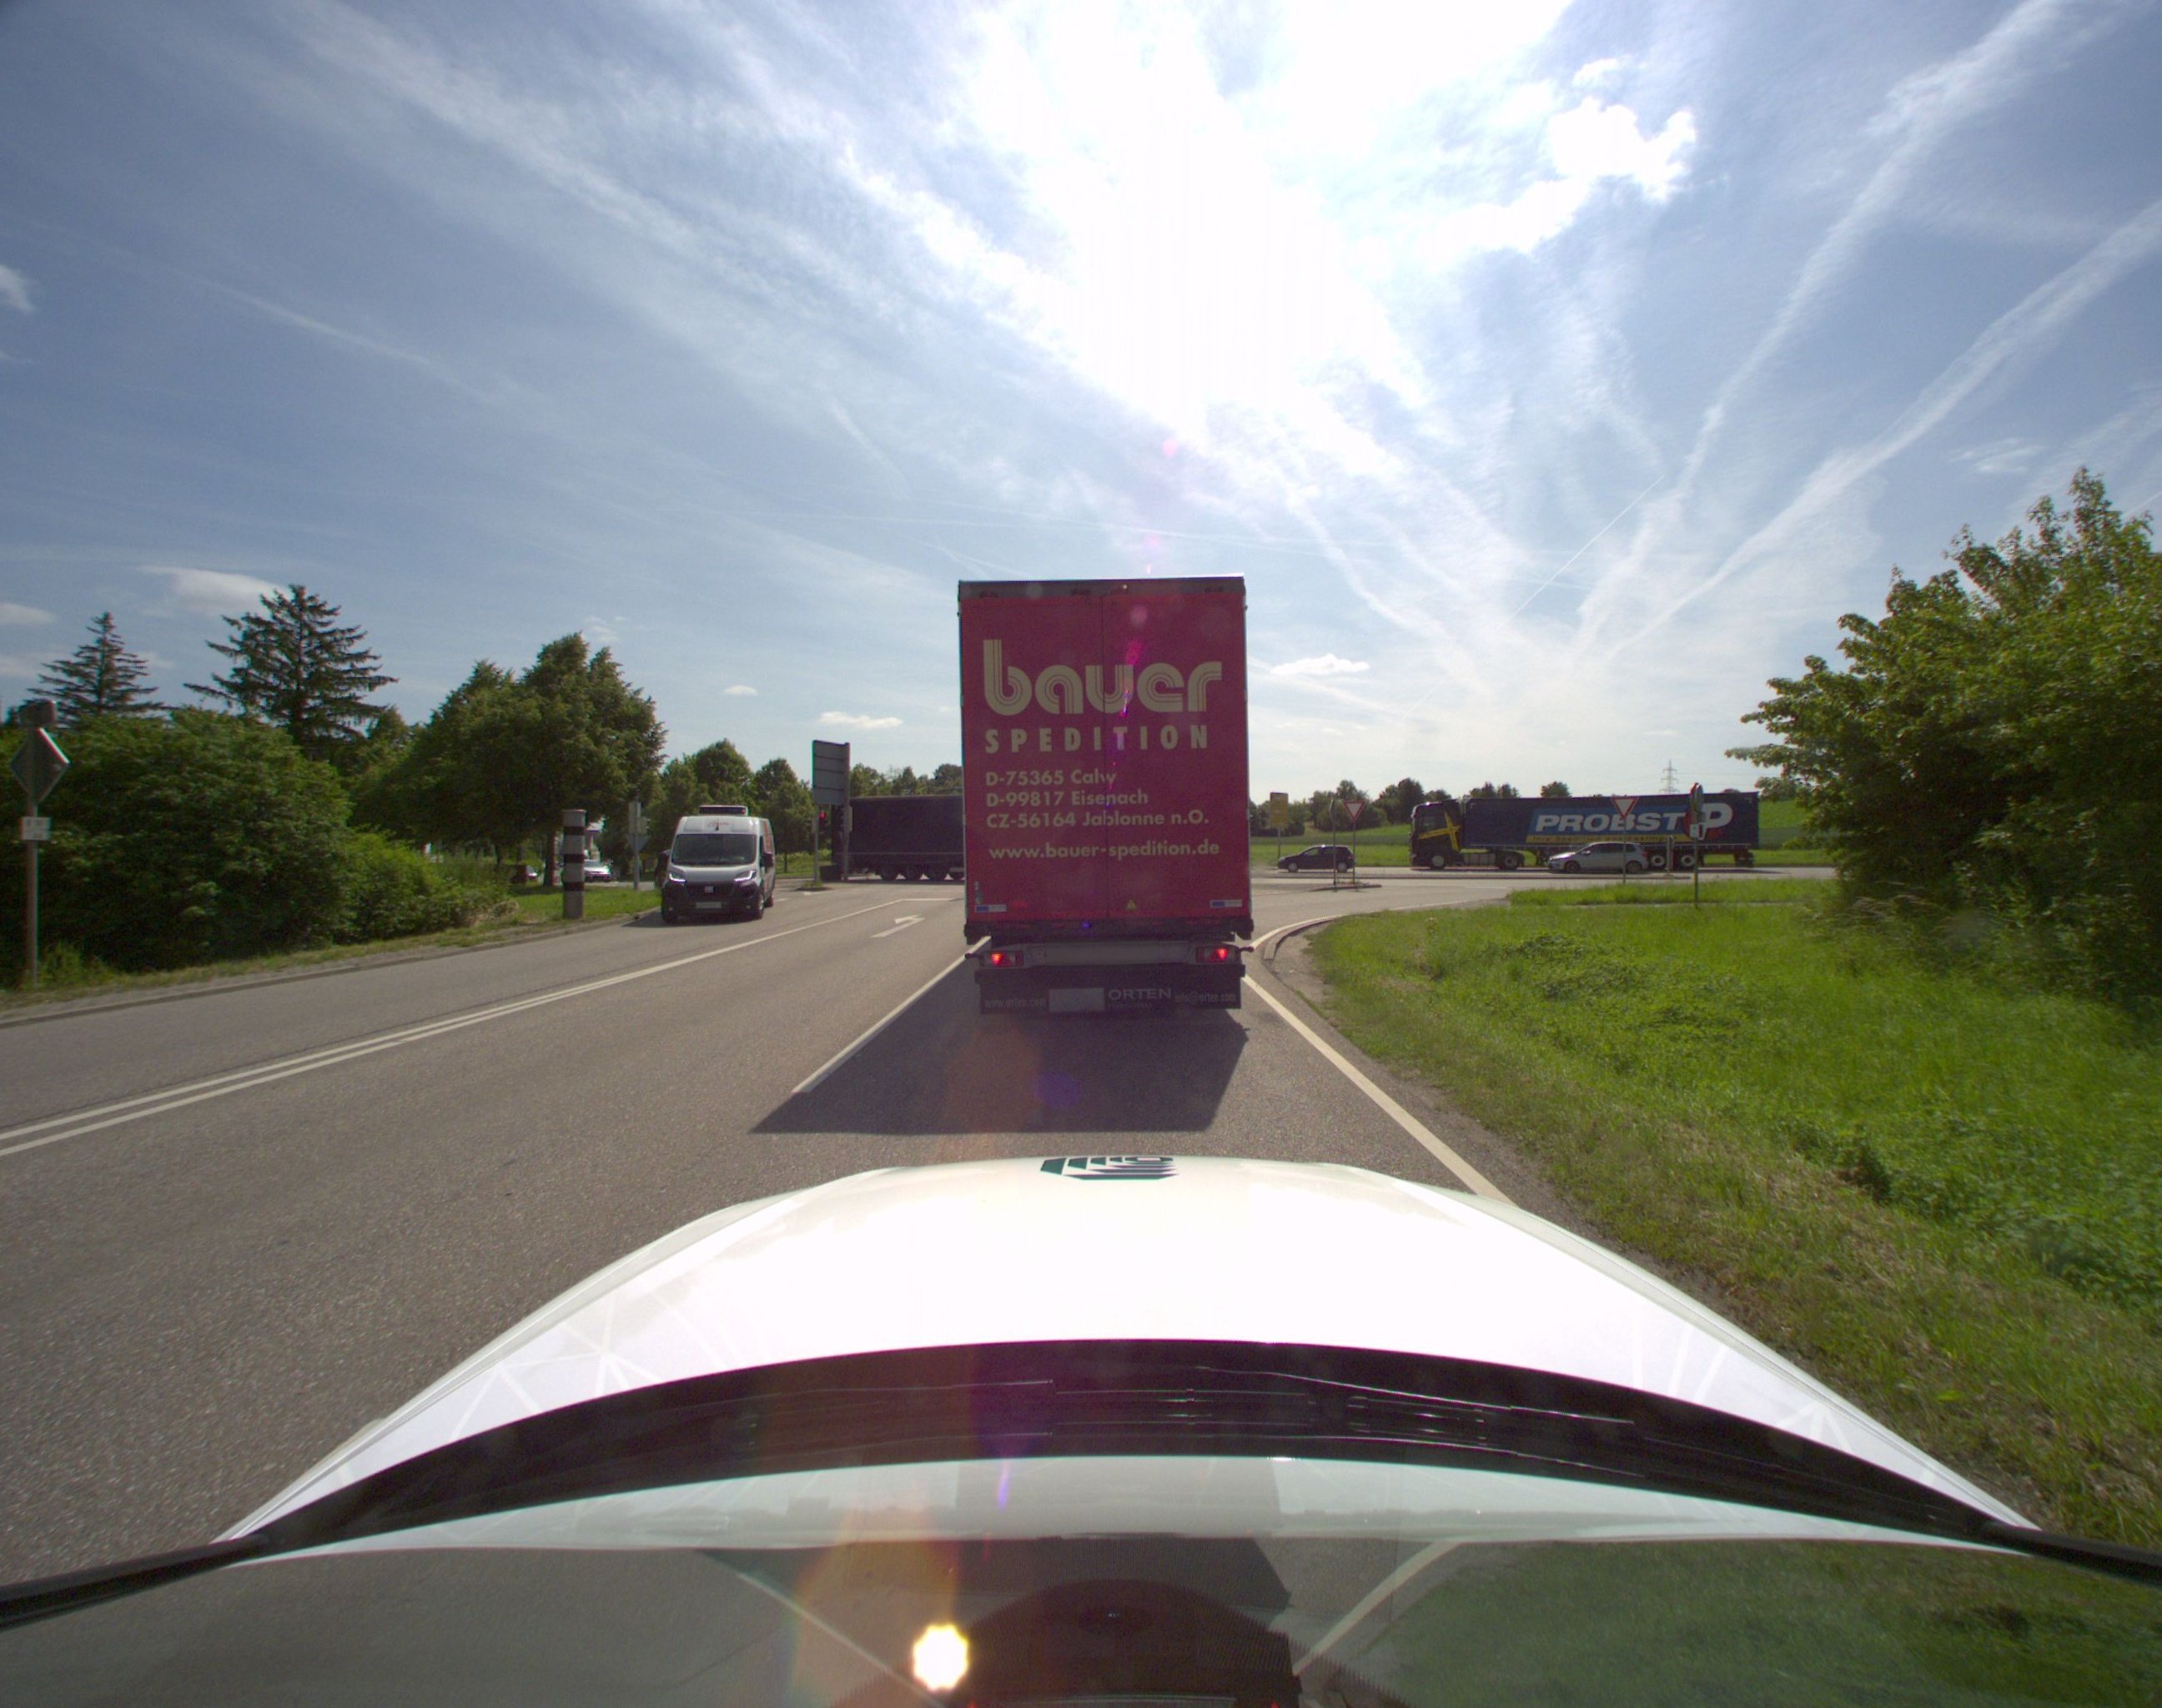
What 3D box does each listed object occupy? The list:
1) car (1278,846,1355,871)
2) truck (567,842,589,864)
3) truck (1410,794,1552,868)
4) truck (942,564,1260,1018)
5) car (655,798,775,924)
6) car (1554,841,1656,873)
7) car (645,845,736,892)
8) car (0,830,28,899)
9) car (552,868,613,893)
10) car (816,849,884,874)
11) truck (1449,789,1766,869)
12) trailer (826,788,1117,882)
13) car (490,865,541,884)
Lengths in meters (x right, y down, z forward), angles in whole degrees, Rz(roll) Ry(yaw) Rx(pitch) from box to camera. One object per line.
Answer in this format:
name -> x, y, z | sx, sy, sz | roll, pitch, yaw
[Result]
car -> 12.823, 0.260, 44.472 | 3.957, 1.310, 1.773 | -1, -1, 15
truck -> -90.299, -0.133, 146.265 | 2.954, 3.798, 7.855 | 0, 0, -28
truck -> 22.470, -1.244, 46.200 | 6.874, 3.993, 3.042 | 0, 1, 18
truck -> 0.407, -0.607, 15.425 | 2.724, 3.925, 16.631 | -1, 0, 2
car -> -8.905, 0.110, 20.319 | 2.124, 2.654, 5.948 | -1, 1, -19
car -> 25.718, 0.148, 40.124 | 3.963, 1.491, 1.545 | -1, -1, 18
car -> -15.606, 0.578, 32.467 | 4.058, 1.750, 1.884 | -1, -1, 42
car -> -36.277, 0.327, 24.883 | 4.601, 2.180, 1.985 | 0, 0, -22
car -> -30.690, 1.601, 50.119 | 3.995, 1.416, 1.807 | 0, 1, 36
car -> -15.119, 0.491, 53.305 | 4.061, 1.547, 1.884 | -1, -1, 27
truck -> 27.868, -1.251, 44.270 | 14.160, 3.979, 3.043 | 0, 1, 21
trailer -> -5.275, -0.835, 38.580 | 13.579, 4.061, 2.810 | 0, 1, 16
car -> -41.737, 1.497, 60.114 | 4.225, 1.305, 1.753 | 0, 0, 35
